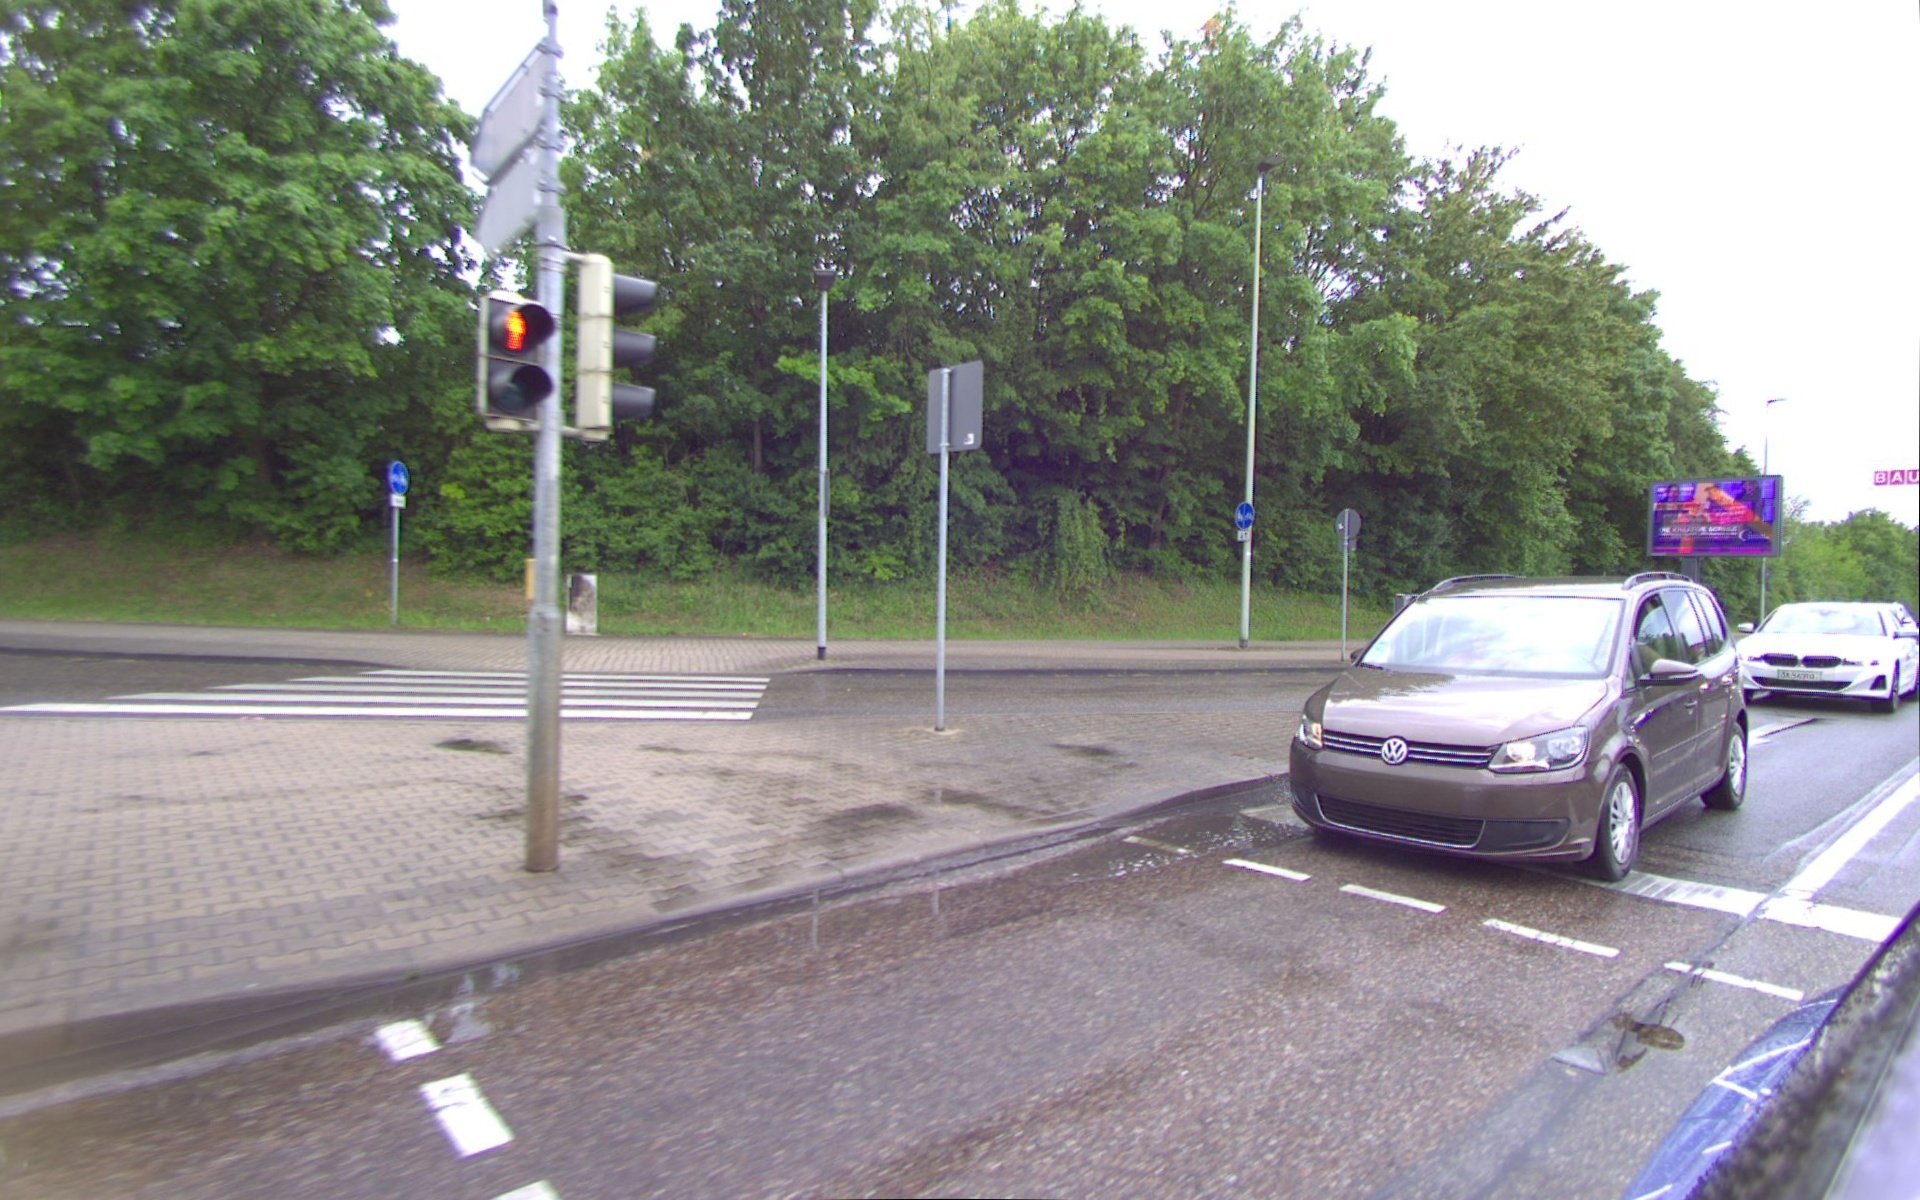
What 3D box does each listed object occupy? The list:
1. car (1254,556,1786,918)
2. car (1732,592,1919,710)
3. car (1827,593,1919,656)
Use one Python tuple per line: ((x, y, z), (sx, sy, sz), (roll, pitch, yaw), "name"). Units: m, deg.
((3.756, 0.593, 6.499), (3.910, 1.629, 1.750), (0, 1, -41), "car")
((13.010, 0.620, 14.950), (4.600, 1.475, 1.782), (0, 1, -42), "car")
((28.423, 0.710, 31.166), (4.241, 1.749, 1.997), (0, 1, -41), "car")
